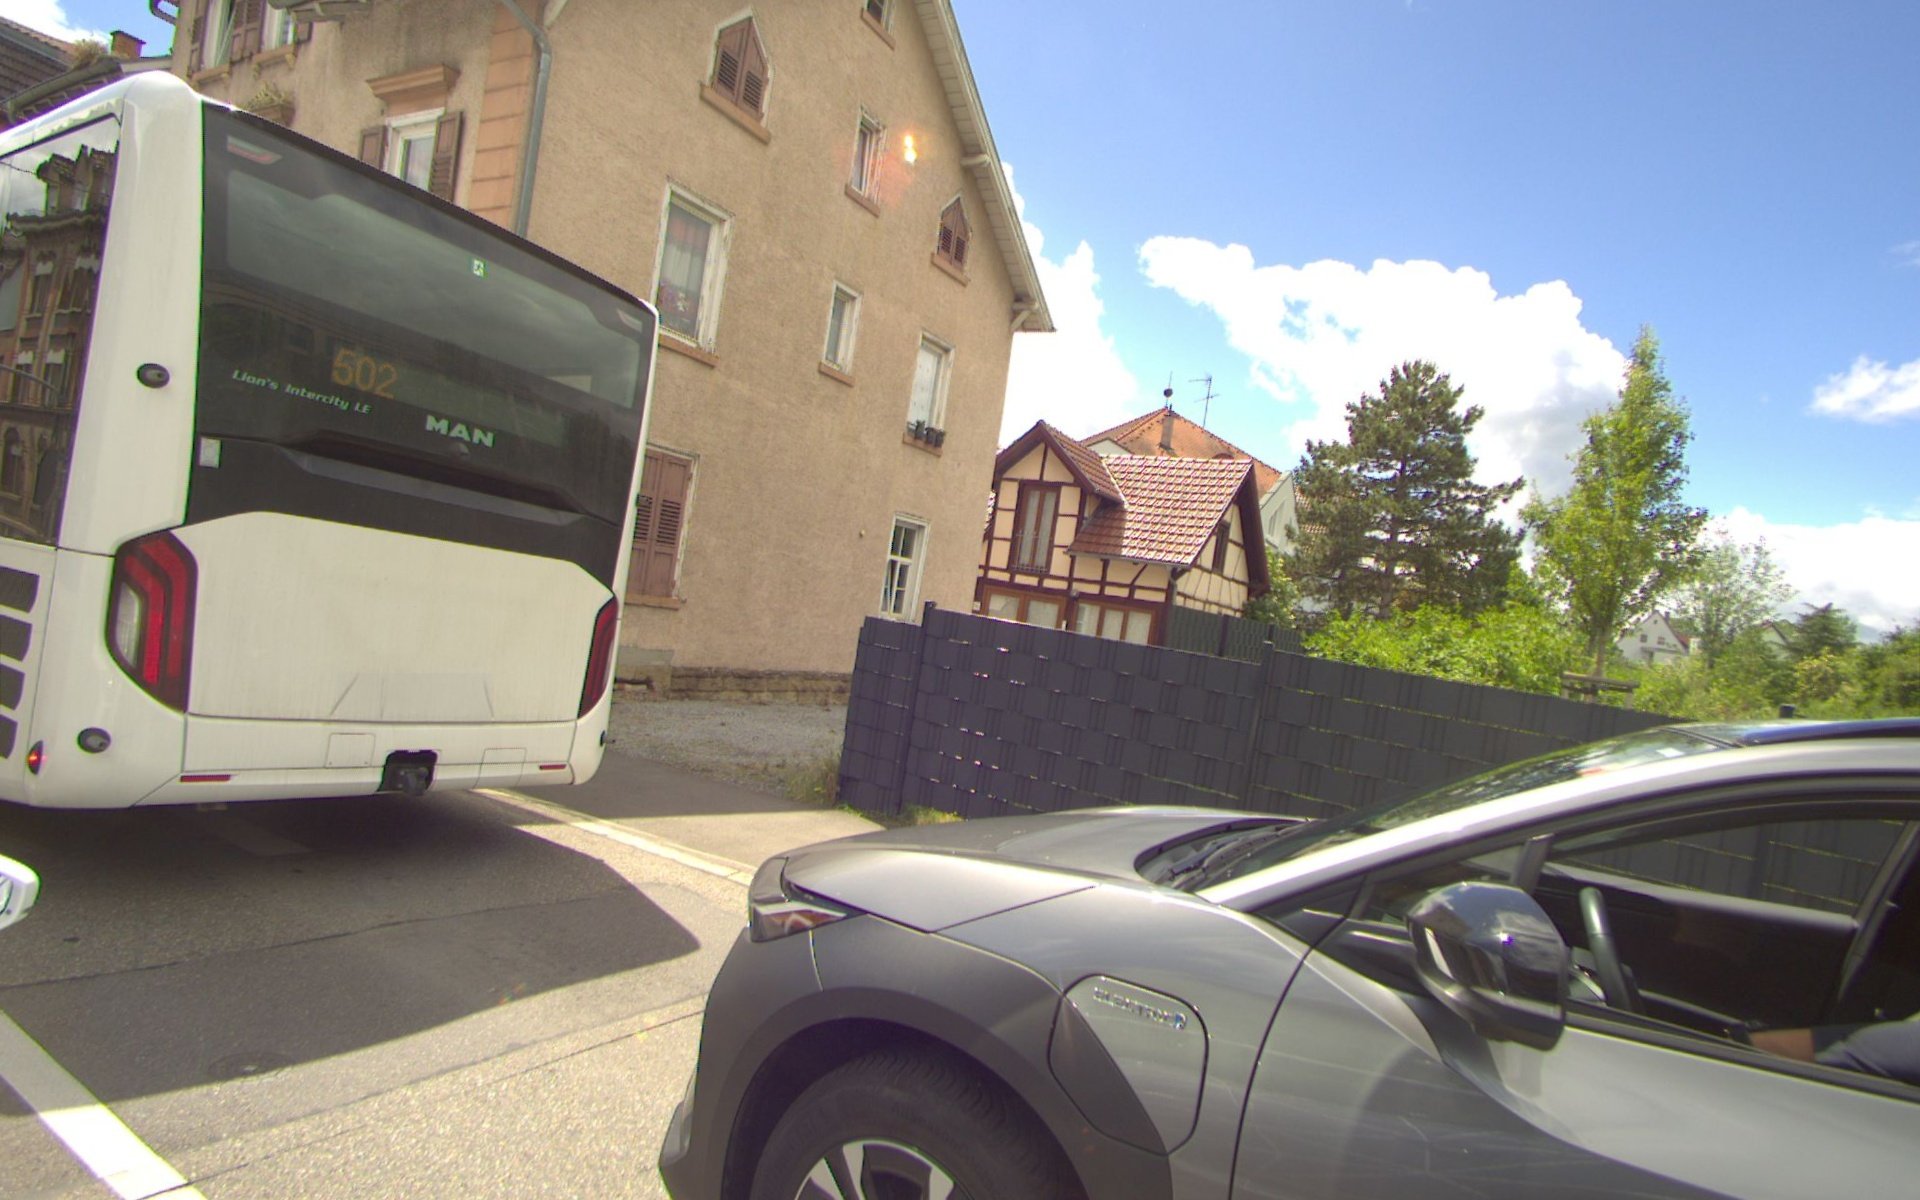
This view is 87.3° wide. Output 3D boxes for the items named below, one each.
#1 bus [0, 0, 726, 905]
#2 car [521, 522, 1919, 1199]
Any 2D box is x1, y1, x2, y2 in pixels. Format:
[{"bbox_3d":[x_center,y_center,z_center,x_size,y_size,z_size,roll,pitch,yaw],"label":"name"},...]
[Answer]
[{"bbox_3d":[-7.505,-1.155,7.827,12.281,3.551,2.910,6,-2,32],"label":"bus"},{"bbox_3d":[1.540,0.960,1.873,4.504,1.648,1.997,7,-1,31],"label":"car"}]
